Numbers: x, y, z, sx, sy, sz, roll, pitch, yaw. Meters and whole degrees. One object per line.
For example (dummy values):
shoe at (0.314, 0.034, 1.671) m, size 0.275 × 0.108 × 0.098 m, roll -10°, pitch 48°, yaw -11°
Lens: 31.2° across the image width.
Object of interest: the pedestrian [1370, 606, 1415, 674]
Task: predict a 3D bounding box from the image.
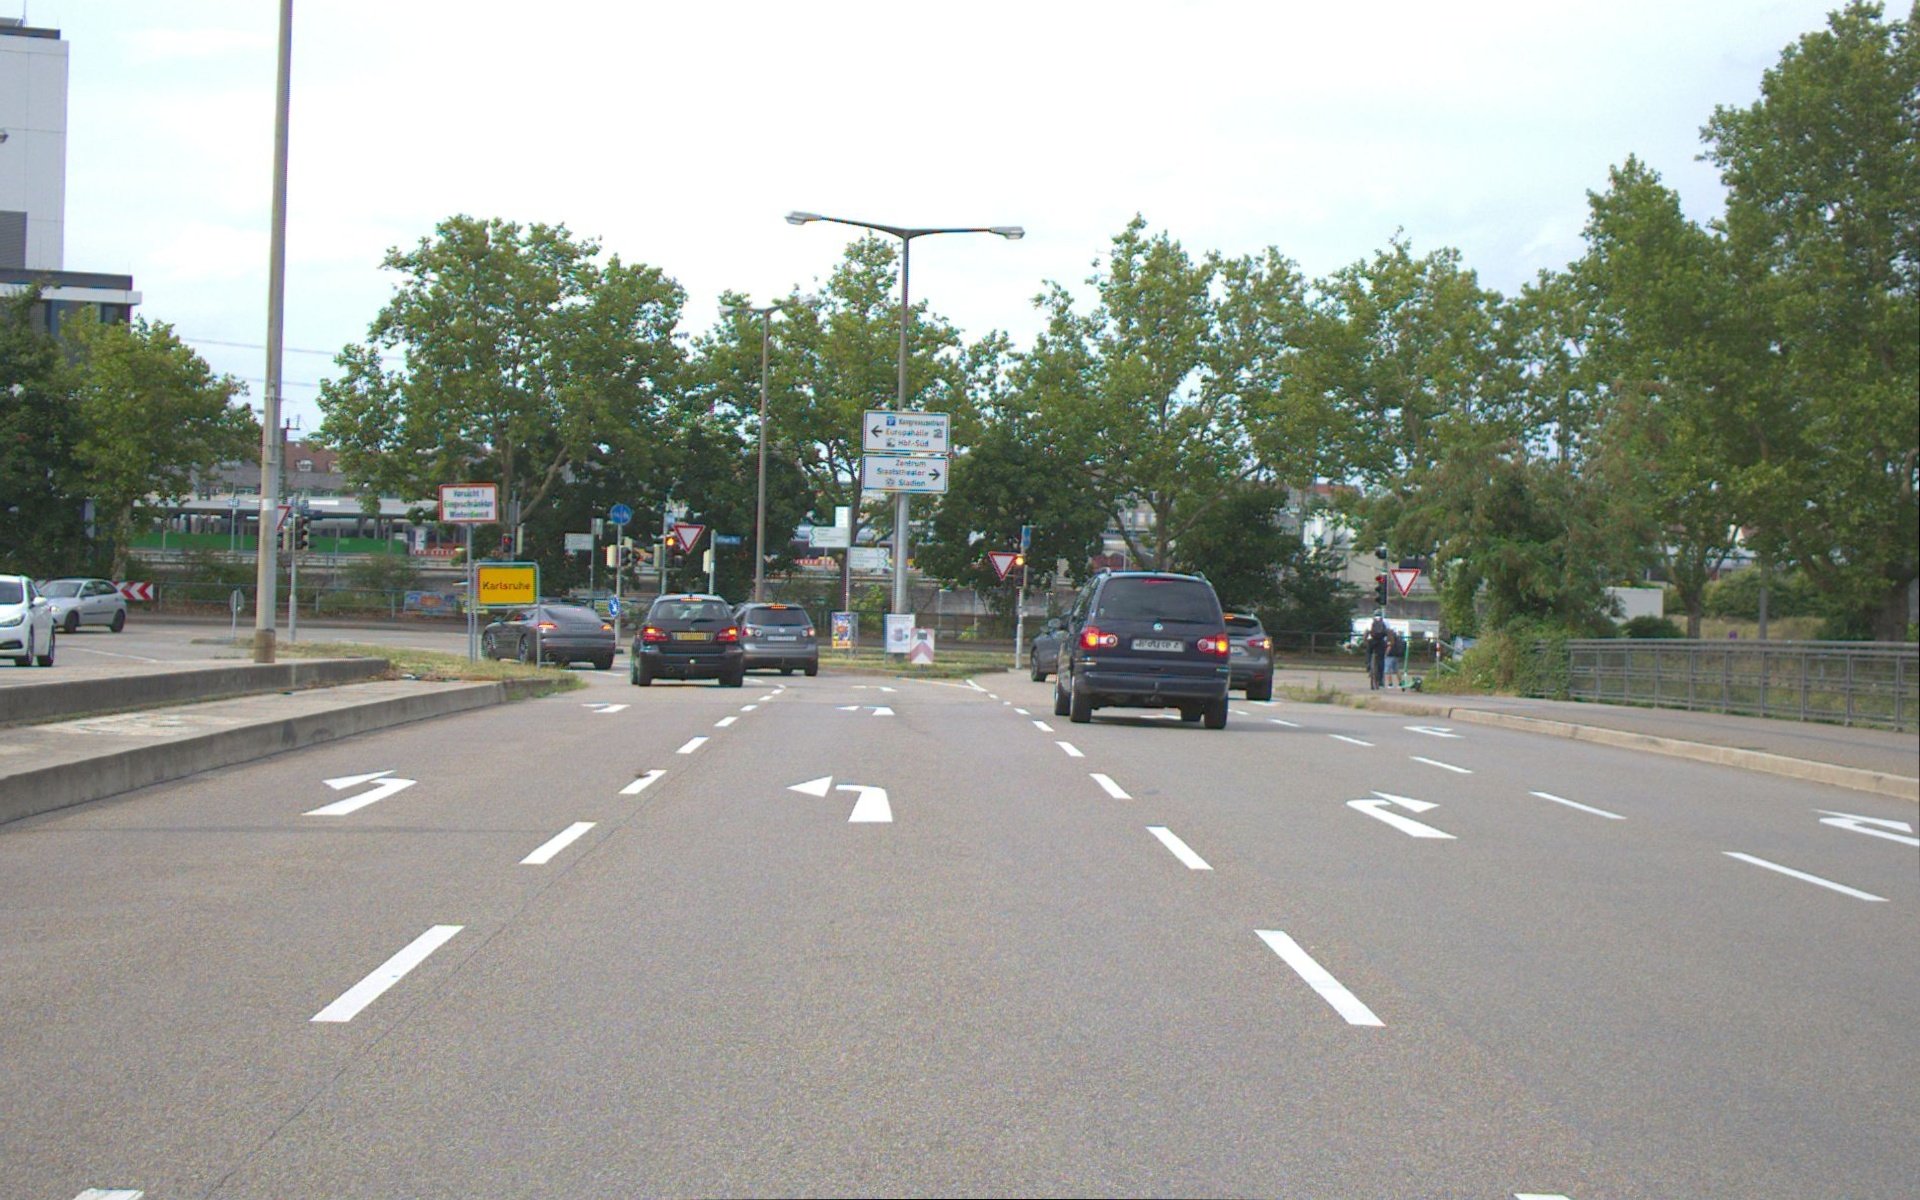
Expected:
pedestrian at (11.159, 1.029, 88.733) m, size 1.047 × 1.704 × 0.853 m, roll 3°, pitch 0°, yaw 10°

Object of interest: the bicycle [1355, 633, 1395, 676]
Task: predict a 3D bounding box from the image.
bicycle at (9.591, 1.258, 79.409) m, size 0.809 × 0.949 × 2.234 m, roll 1°, pitch 0°, yaw 9°

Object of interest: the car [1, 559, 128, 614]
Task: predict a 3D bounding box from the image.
car at (-23.691, -0.354, 91.097) m, size 1.617 × 1.405 × 3.858 m, roll 0°, pitch 0°, yaw 13°

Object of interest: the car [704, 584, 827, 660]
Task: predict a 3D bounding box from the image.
car at (-4.154, 0.451, 73.012) m, size 1.740 × 1.541 × 4.083 m, roll 1°, pitch 0°, yaw -16°

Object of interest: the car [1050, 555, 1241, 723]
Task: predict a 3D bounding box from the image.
car at (2.072, 0.441, 39.473) m, size 1.750 × 1.719 × 4.138 m, roll 3°, pitch -1°, yaw -2°

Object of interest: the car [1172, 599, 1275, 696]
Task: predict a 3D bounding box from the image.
car at (4.854, 0.885, 63.777) m, size 1.750 × 1.637 × 4.137 m, roll 3°, pitch -1°, yaw 3°

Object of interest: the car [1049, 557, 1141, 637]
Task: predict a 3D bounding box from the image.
car at (2.873, -0.037, 73.976) m, size 1.690 × 1.580 × 4.156 m, roll 3°, pitch -1°, yaw -1°

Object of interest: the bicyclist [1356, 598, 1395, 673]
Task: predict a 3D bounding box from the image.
bicyclist at (9.610, 0.811, 79.434) m, size 0.811 × 1.690 × 1.115 m, roll 1°, pitch 0°, yaw 10°

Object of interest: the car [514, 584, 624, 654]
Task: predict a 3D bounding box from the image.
car at (-8.608, 0.389, 75.381) m, size 1.818 × 1.409 × 4.778 m, roll 2°, pitch 0°, yaw -13°

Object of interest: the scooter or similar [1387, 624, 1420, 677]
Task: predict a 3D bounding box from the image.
scooter or similar at (9.879, 1.119, 76.619) m, size 0.396 × 1.179 × 1.281 m, roll 1°, pitch -1°, yaw -8°

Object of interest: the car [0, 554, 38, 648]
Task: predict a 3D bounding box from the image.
car at (-15.666, -0.018, 54.301) m, size 1.918 × 1.410 × 4.883 m, roll 0°, pitch 1°, yaw -18°

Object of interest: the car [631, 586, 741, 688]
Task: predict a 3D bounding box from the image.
car at (-4.692, 0.609, 59.118) m, size 1.757 × 1.570 × 4.037 m, roll 2°, pitch 1°, yaw -4°
